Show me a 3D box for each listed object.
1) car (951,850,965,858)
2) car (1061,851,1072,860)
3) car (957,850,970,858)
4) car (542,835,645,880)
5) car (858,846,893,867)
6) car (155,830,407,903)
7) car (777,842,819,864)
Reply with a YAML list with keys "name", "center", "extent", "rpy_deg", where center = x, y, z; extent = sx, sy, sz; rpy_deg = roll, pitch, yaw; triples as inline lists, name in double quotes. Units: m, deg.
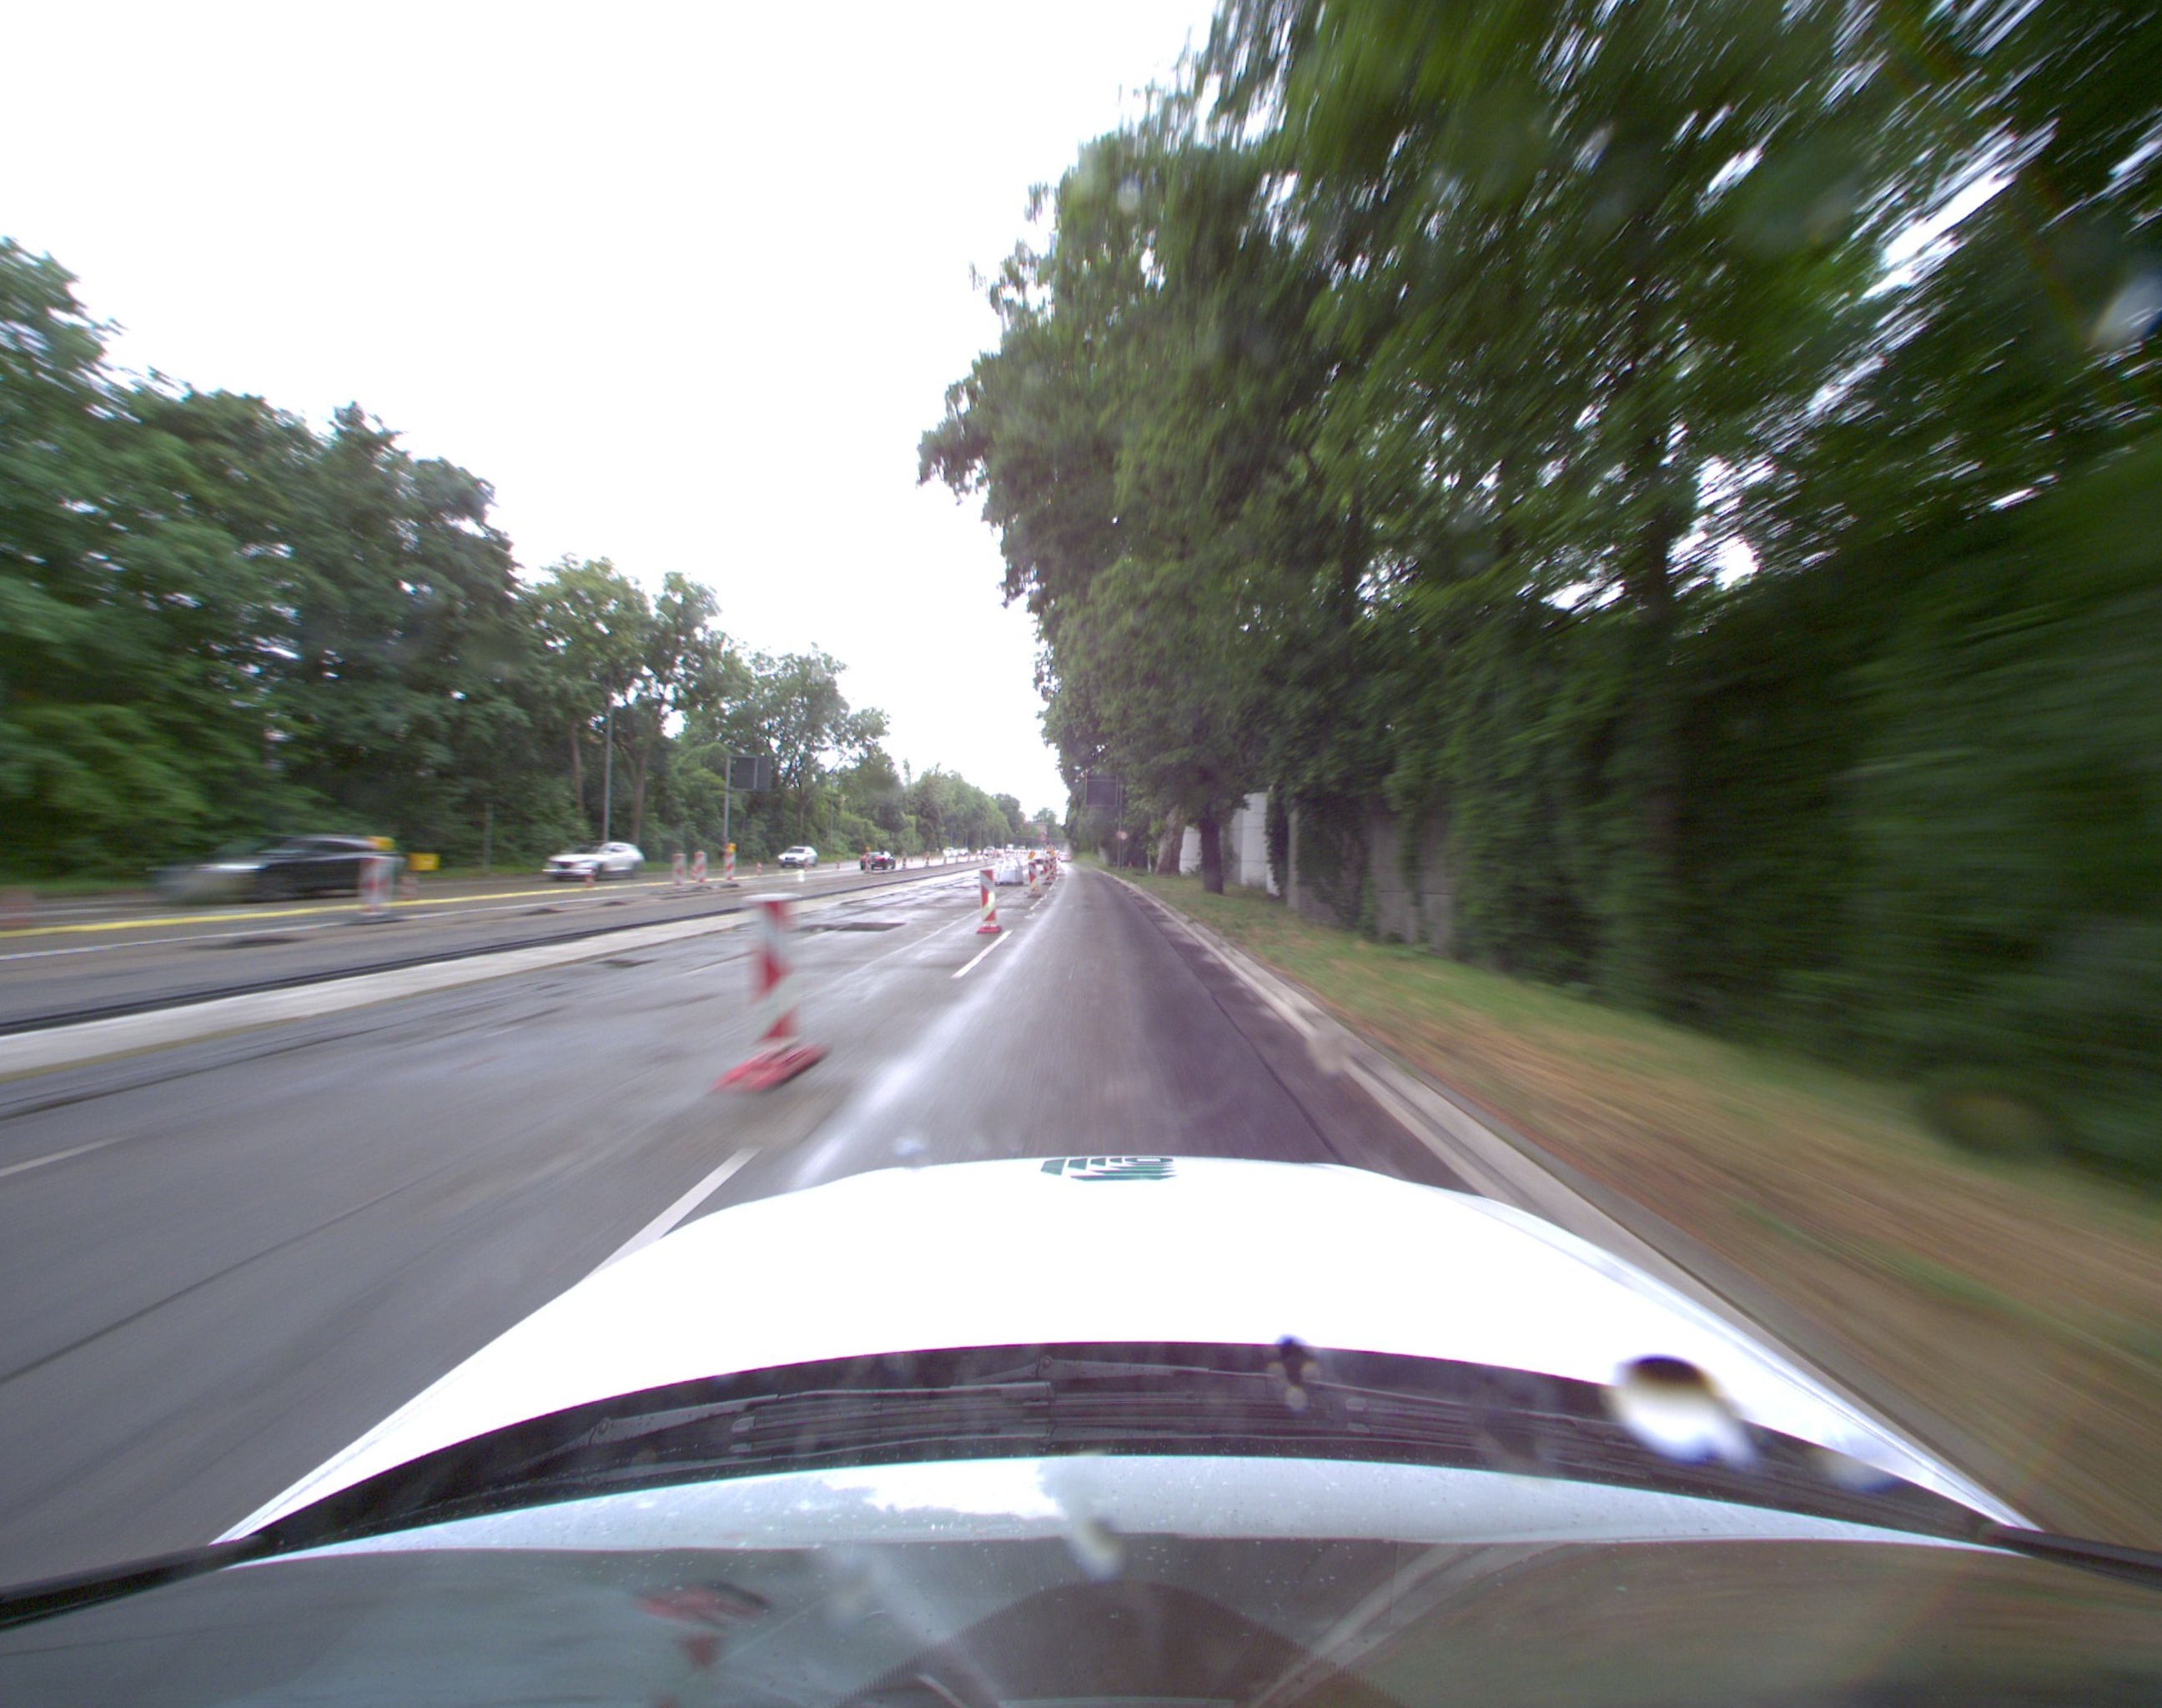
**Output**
- name: "car"
  center: [-20.313, -0.031, 134.808]
  extent: [1.813, 1.355, 4.386]
  rpy_deg: [0, 0, -2]
- name: "car"
  center: [-2.350, 0.255, 133.119]
  extent: [1.693, 1.336, 3.488]
  rpy_deg: [-1, 0, -2]
- name: "car"
  center: [-20.447, -0.052, 141.778]
  extent: [1.813, 1.355, 4.201]
  rpy_deg: [0, 0, -2]
- name: "car"
  center: [-20.608, 0.130, 34.650]
  extent: [1.772, 1.751, 4.378]
  rpy_deg: [0, 0, -1]
- name: "car"
  center: [-14.941, 0.158, 59.281]
  extent: [1.603, 1.404, 4.038]
  rpy_deg: [2, 0, -2]
- name: "car"
  center: [-20.517, 0.272, 21.275]
  extent: [1.772, 1.663, 4.913]
  rpy_deg: [-1, 0, -1]
- name: "car"
  center: [-20.843, -0.069, 60.110]
  extent: [1.661, 1.541, 4.157]
  rpy_deg: [-2, 0, 0]
